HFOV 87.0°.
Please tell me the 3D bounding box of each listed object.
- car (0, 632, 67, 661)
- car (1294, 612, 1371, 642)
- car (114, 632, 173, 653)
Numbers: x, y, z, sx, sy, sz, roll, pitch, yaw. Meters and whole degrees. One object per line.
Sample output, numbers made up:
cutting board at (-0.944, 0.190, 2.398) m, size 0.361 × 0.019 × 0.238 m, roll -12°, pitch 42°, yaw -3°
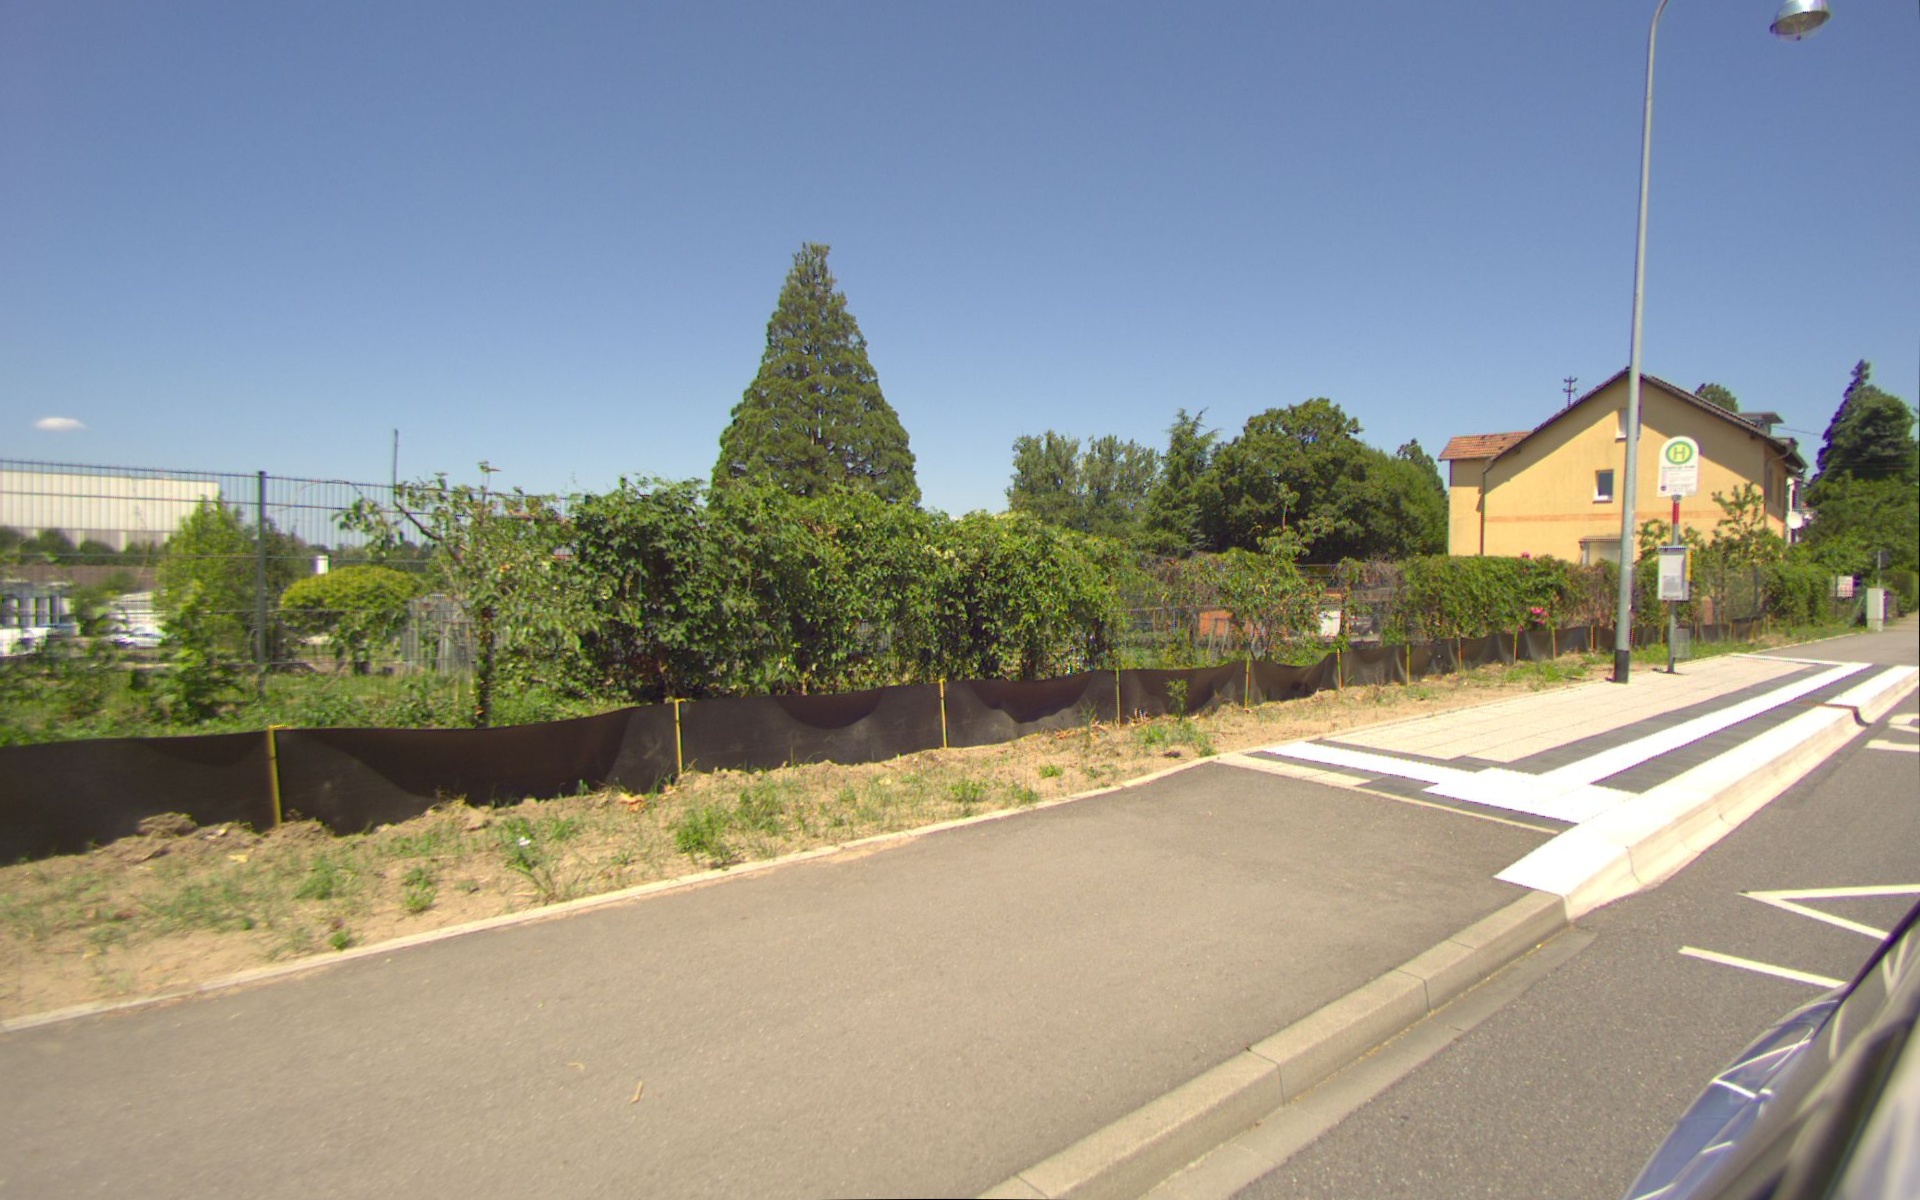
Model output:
car at (-66.672, 3.298, 72.146) m, size 4.254 × 2.039 × 1.875 m, roll 0°, pitch -1°, yaw -5°
car at (22.551, 1.613, 61.385) m, size 1.851 × 1.709 × 3.994 m, roll 1°, pitch -1°, yaw -40°
car at (-69.173, 3.550, 85.749) m, size 3.781 × 1.641 × 1.934 m, roll 1°, pitch -1°, yaw -41°
